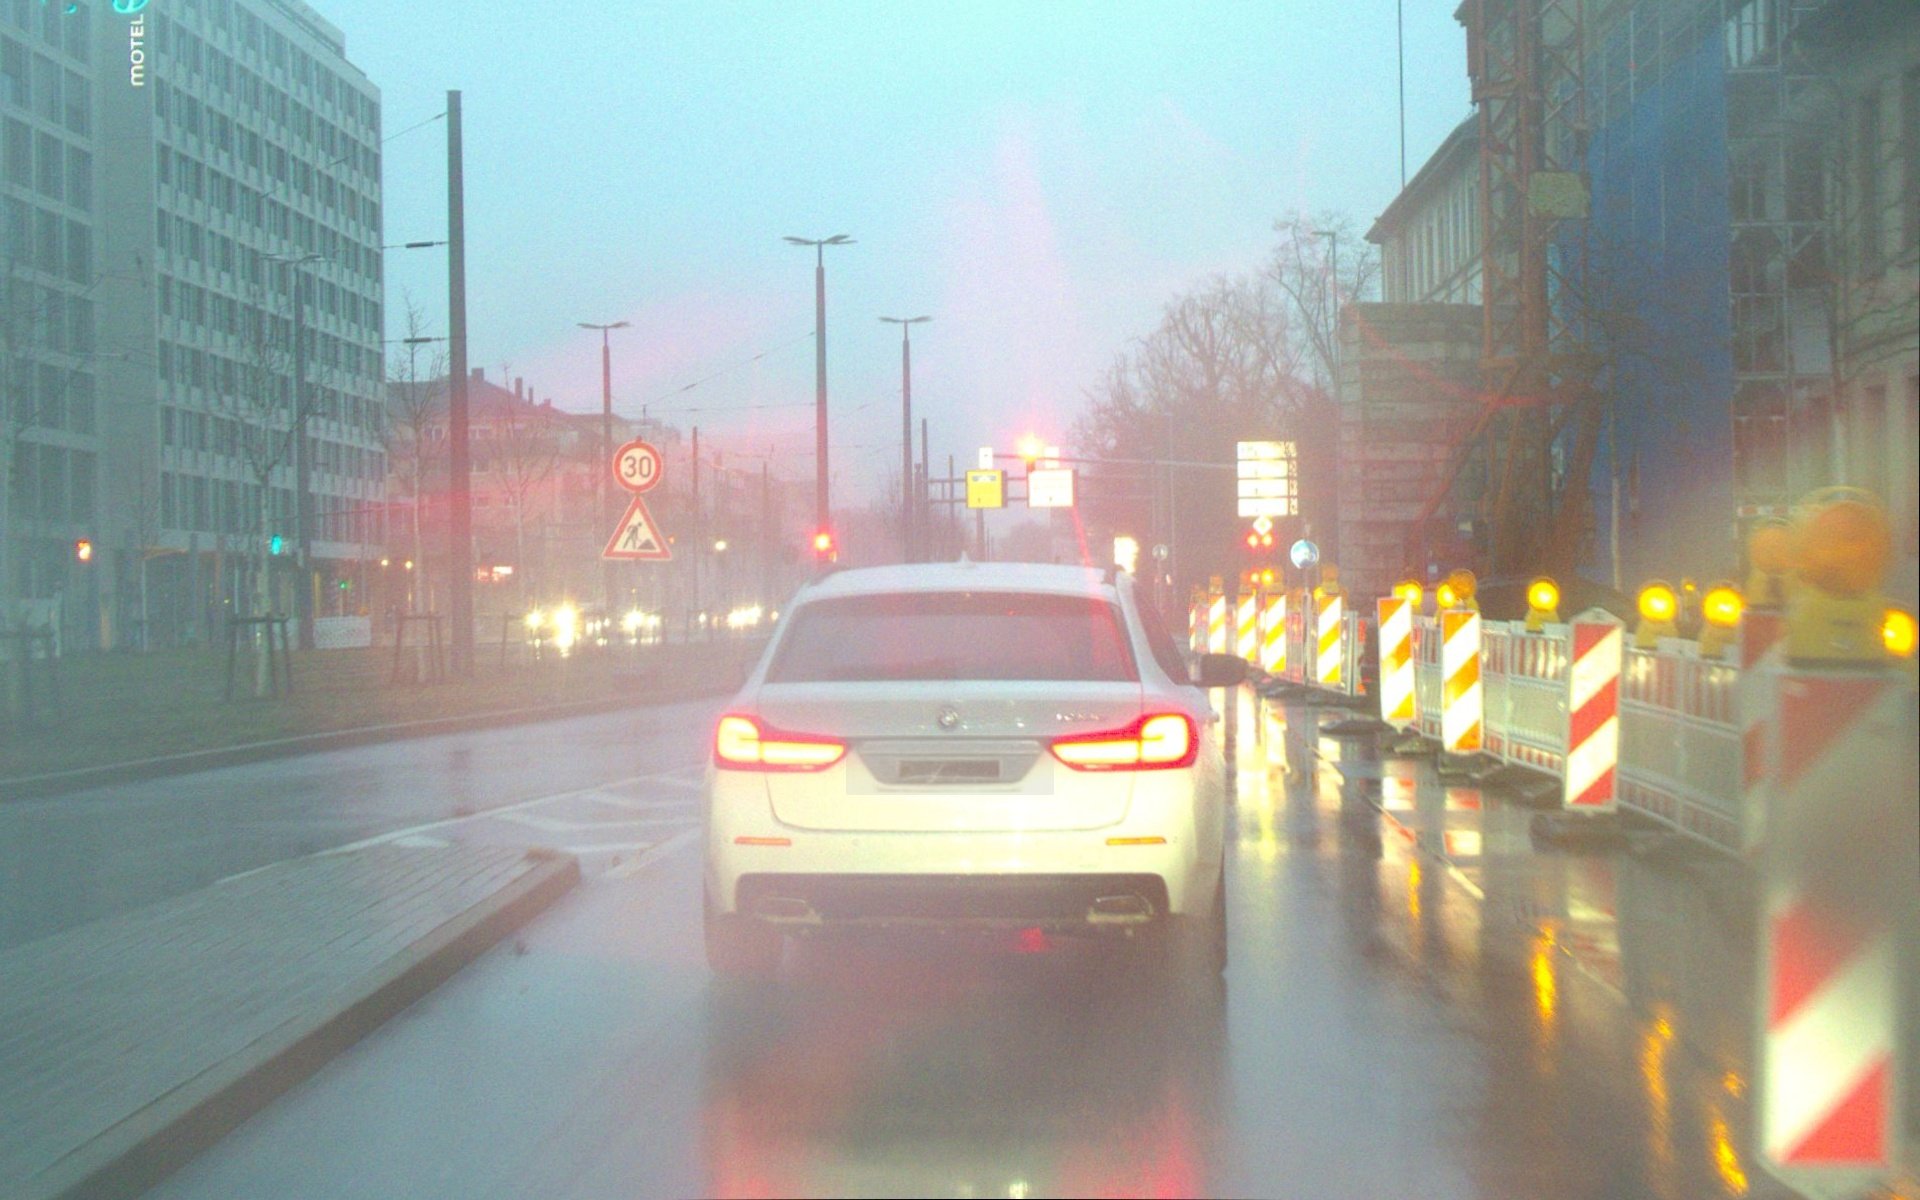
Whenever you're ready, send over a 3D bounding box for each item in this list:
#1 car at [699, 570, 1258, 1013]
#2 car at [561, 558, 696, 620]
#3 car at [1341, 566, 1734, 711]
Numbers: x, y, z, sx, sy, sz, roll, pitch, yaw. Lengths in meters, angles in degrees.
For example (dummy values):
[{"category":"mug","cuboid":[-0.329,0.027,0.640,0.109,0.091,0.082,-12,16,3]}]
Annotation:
[{"category":"car","cuboid":[0.098,0.625,13.910,1.852,1.460,4.946,0,0,1]},{"category":"car","cuboid":[-10.705,-0.342,110.919,3.986,1.968,2.001,0,0,-17]},{"category":"car","cuboid":[6.387,0.402,37.923,4.082,1.513,1.908,0,0,-34]}]
